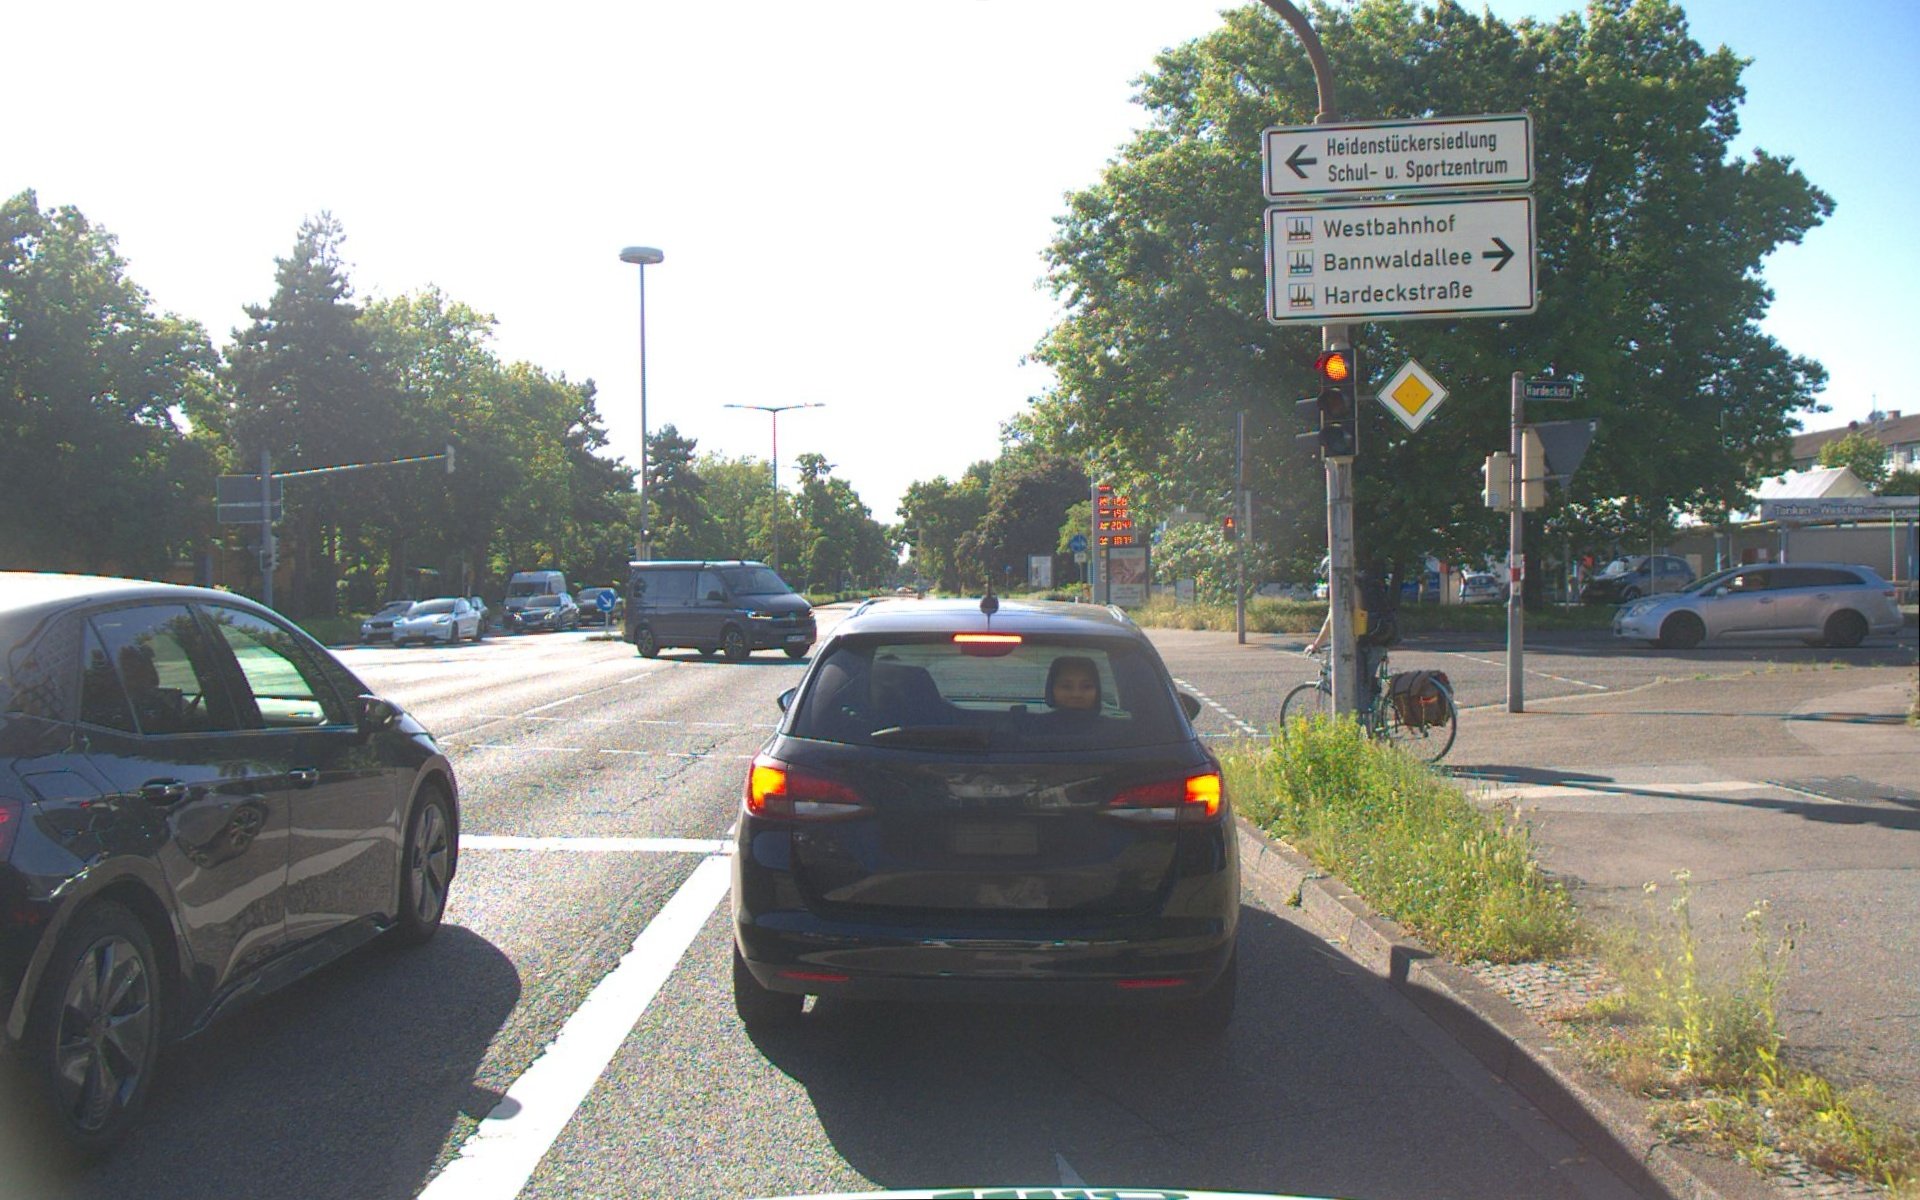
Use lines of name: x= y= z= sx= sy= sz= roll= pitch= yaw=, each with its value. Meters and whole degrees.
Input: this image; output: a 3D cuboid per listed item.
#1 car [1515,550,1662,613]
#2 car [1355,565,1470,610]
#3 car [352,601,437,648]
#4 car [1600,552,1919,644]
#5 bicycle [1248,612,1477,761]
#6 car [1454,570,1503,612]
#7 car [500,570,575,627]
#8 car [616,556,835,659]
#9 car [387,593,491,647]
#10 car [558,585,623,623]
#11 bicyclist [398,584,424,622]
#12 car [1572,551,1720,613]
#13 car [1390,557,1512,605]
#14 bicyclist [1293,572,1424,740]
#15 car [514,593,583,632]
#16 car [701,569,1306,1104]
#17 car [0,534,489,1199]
car: x=19.008 y=-0.567 z=50.032 sx=3.935 sy=1.780 sz=1.985 roll=-1 pitch=0 yaw=-24
car: x=16.431 y=-0.463 z=60.058 sx=3.837 sy=1.544 sz=1.732 roll=-2 pitch=0 yaw=-24
car: x=-19.823 y=0.840 z=58.125 sx=1.652 sy=1.535 sz=4.003 roll=-1 pitch=0 yaw=-1
car: x=14.234 y=-0.032 z=29.569 sx=4.897 sy=1.512 sz=2.002 roll=-1 pitch=0 yaw=11
bicycle: x=3.223 y=0.698 z=13.369 sx=0.533 sy=1.117 sz=1.748 roll=-2 pitch=-2 yaw=-44
car: x=21.949 y=-0.405 z=70.123 sx=1.702 sy=1.709 sz=4.003 roll=-1 pitch=0 yaw=14
car: x=-19.945 y=-0.102 z=78.307 sx=2.057 sy=2.536 sz=6.003 roll=-1 pitch=0 yaw=-1
car: x=-4.996 y=0.157 z=34.727 sx=4.929 sy=2.027 sz=1.905 roll=-1 pitch=0 yaw=44
car: x=-16.218 y=0.577 z=51.733 sx=1.850 sy=1.551 sz=4.503 roll=-1 pitch=0 yaw=-1
car: x=-16.751 y=0.177 z=75.239 sx=1.953 sy=1.629 sz=4.615 roll=-1 pitch=0 yaw=-1
bicyclist: x=-24.769 y=0.146 z=74.650 sx=0.859 sy=1.677 sz=1.198 roll=-2 pitch=0 yaw=-6
car: x=19.987 y=-0.533 z=48.194 sx=3.934 sy=1.709 sz=1.732 roll=-2 pitch=0 yaw=-24
car: x=16.908 y=-0.651 z=56.983 sx=3.837 sy=1.544 sz=1.732 roll=-2 pitch=0 yaw=-24
bicyclist: x=3.214 y=0.452 z=13.369 sx=0.534 sy=1.299 sz=0.816 roll=-2 pitch=-2 yaw=-44
car: x=-16.405 y=0.484 z=66.138 sx=1.652 sy=1.458 sz=4.614 roll=-1 pitch=0 yaw=-1
car: x=0.099 y=0.682 z=6.836 sx=1.721 sy=1.521 sz=4.206 roll=0 pitch=0 yaw=-1
car: x=-3.001 y=0.656 z=5.604 sx=1.650 sy=1.608 sz=4.206 roll=0 pitch=0 yaw=-1
